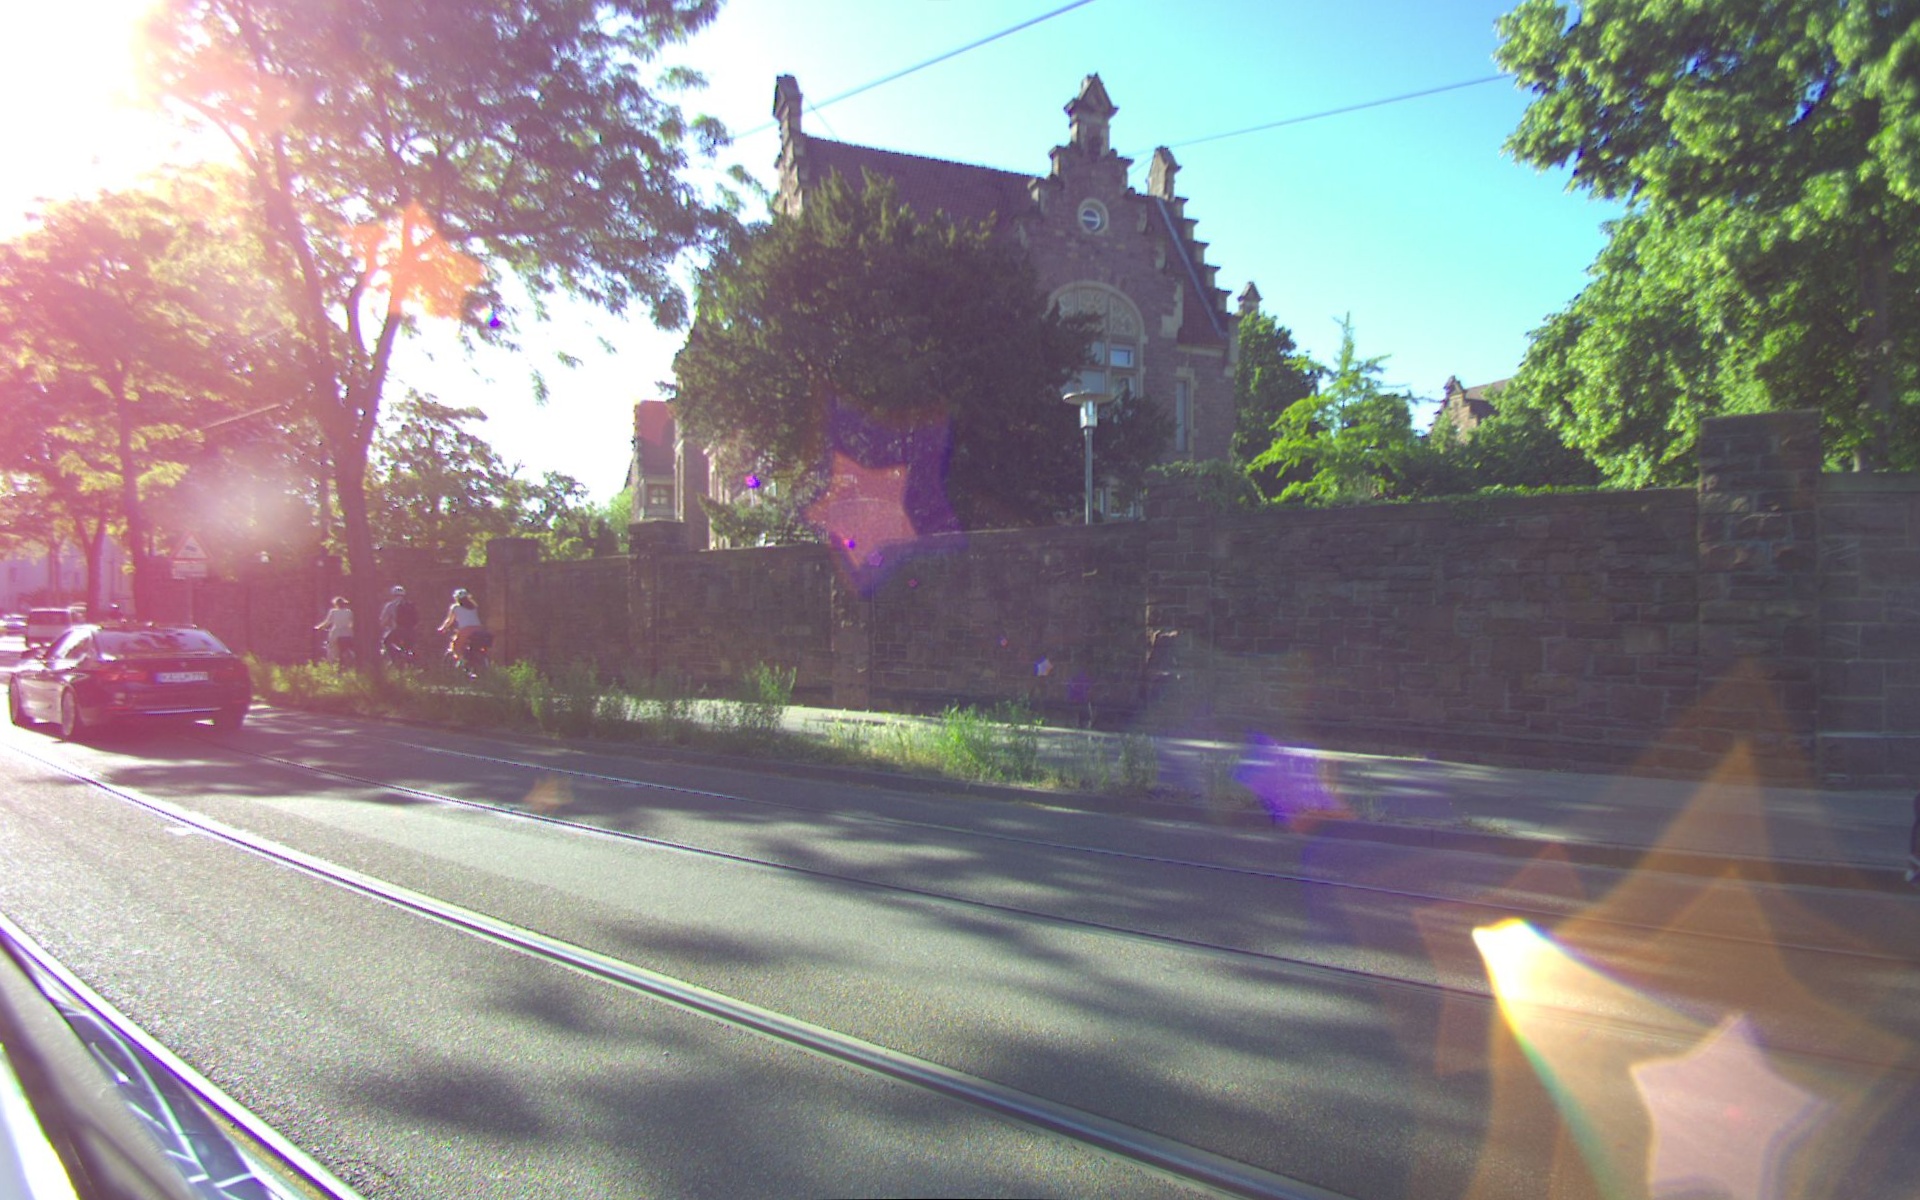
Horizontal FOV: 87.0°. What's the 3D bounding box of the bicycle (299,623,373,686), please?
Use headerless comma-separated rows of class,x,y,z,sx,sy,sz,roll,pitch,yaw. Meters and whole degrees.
bicycle,-12.979,1.099,21.022,2.087,1.200,0.737,-1,0,41

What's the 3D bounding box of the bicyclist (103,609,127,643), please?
bicyclist,-33.012,1.015,39.548,0.674,1.294,0.873,-1,0,-38

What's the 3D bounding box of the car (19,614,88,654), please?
car,-43.570,1.580,48.719,1.802,1.824,4.011,0,-1,-32

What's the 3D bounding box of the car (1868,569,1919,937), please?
car,5.915,0.632,3.173,4.090,1.629,1.912,-1,-2,23

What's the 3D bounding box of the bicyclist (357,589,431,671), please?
bicyclist,-10.061,0.514,17.977,1.271,1.401,0.758,-1,0,41

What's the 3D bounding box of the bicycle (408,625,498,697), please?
bicycle,-9.225,1.068,18.388,2.087,1.200,0.724,-1,0,41

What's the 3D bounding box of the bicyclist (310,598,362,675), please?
bicyclist,-12.946,0.747,20.995,0.751,1.546,0.734,-1,0,41

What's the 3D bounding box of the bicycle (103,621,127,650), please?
bicycle,-33.075,1.380,39.626,0.674,1.086,1.740,-1,0,-38

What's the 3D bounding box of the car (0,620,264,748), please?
car,-11.173,0.995,13.365,4.245,1.433,1.722,-1,-1,32

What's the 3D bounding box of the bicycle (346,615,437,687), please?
bicycle,-10.179,0.882,18.078,2.102,1.200,0.764,-1,0,41

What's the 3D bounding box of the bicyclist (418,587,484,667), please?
bicyclist,-9.275,0.470,18.427,1.060,1.401,0.724,-1,0,41
